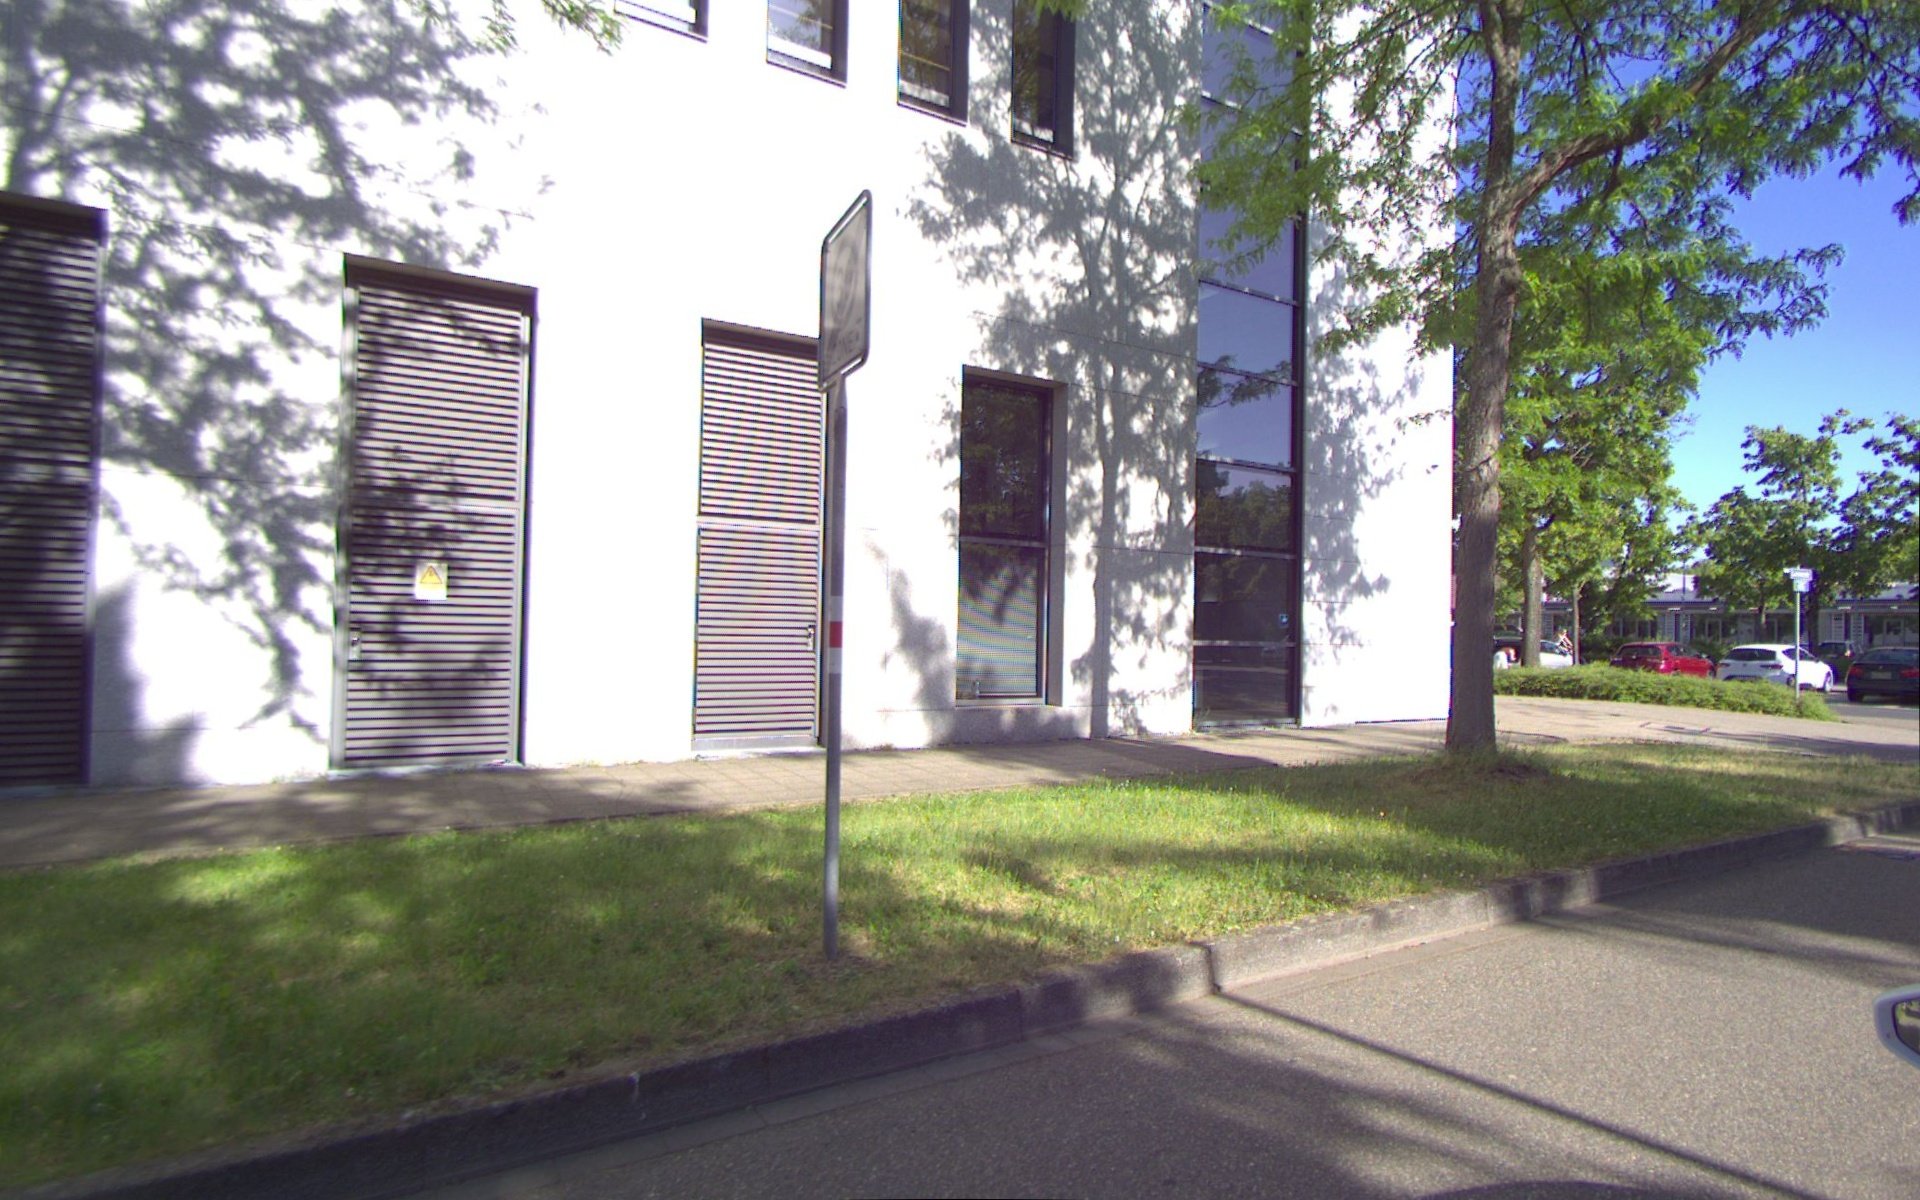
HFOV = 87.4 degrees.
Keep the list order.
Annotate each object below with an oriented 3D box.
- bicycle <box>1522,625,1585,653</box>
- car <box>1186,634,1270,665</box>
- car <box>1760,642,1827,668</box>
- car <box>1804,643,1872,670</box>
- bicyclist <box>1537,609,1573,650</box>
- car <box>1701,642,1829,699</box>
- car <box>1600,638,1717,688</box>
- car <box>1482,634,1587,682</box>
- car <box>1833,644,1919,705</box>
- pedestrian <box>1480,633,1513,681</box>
[{"bbox_3d":[23.122,1.497,39.172,0.590,1.009,2.070,1,-1,-33],"label":"bicycle"},{"bbox_3d":[12.841,2.355,48.096,3.699,1.435,1.828,1,-1,-29],"label":"car"},{"bbox_3d":[50.728,3.321,61.124,3.859,1.517,1.829,1,-1,-29],"label":"car"},{"bbox_3d":[51.850,3.328,59.336,3.859,1.517,1.829,1,-1,-29],"label":"car"},{"bbox_3d":[23.163,1.151,39.110,0.590,1.544,1.005,1,0,-34],"label":"bicyclist"},{"bbox_3d":[23.657,2.013,29.497,3.869,1.456,1.793,0,-1,-32],"label":"car"},{"bbox_3d":[22.176,1.952,31.865,3.869,1.445,1.658,2,-1,-32],"label":"car"},{"bbox_3d":[20.808,2.071,36.362,3.869,1.599,1.665,2,-1,-32],"label":"car"},{"bbox_3d":[25.366,1.940,26.957,4.122,1.424,1.813,0,-1,-32],"label":"car"},{"bbox_3d":[18.780,1.986,35.142,0.752,1.600,0.674,2,-1,-2],"label":"pedestrian"}]
